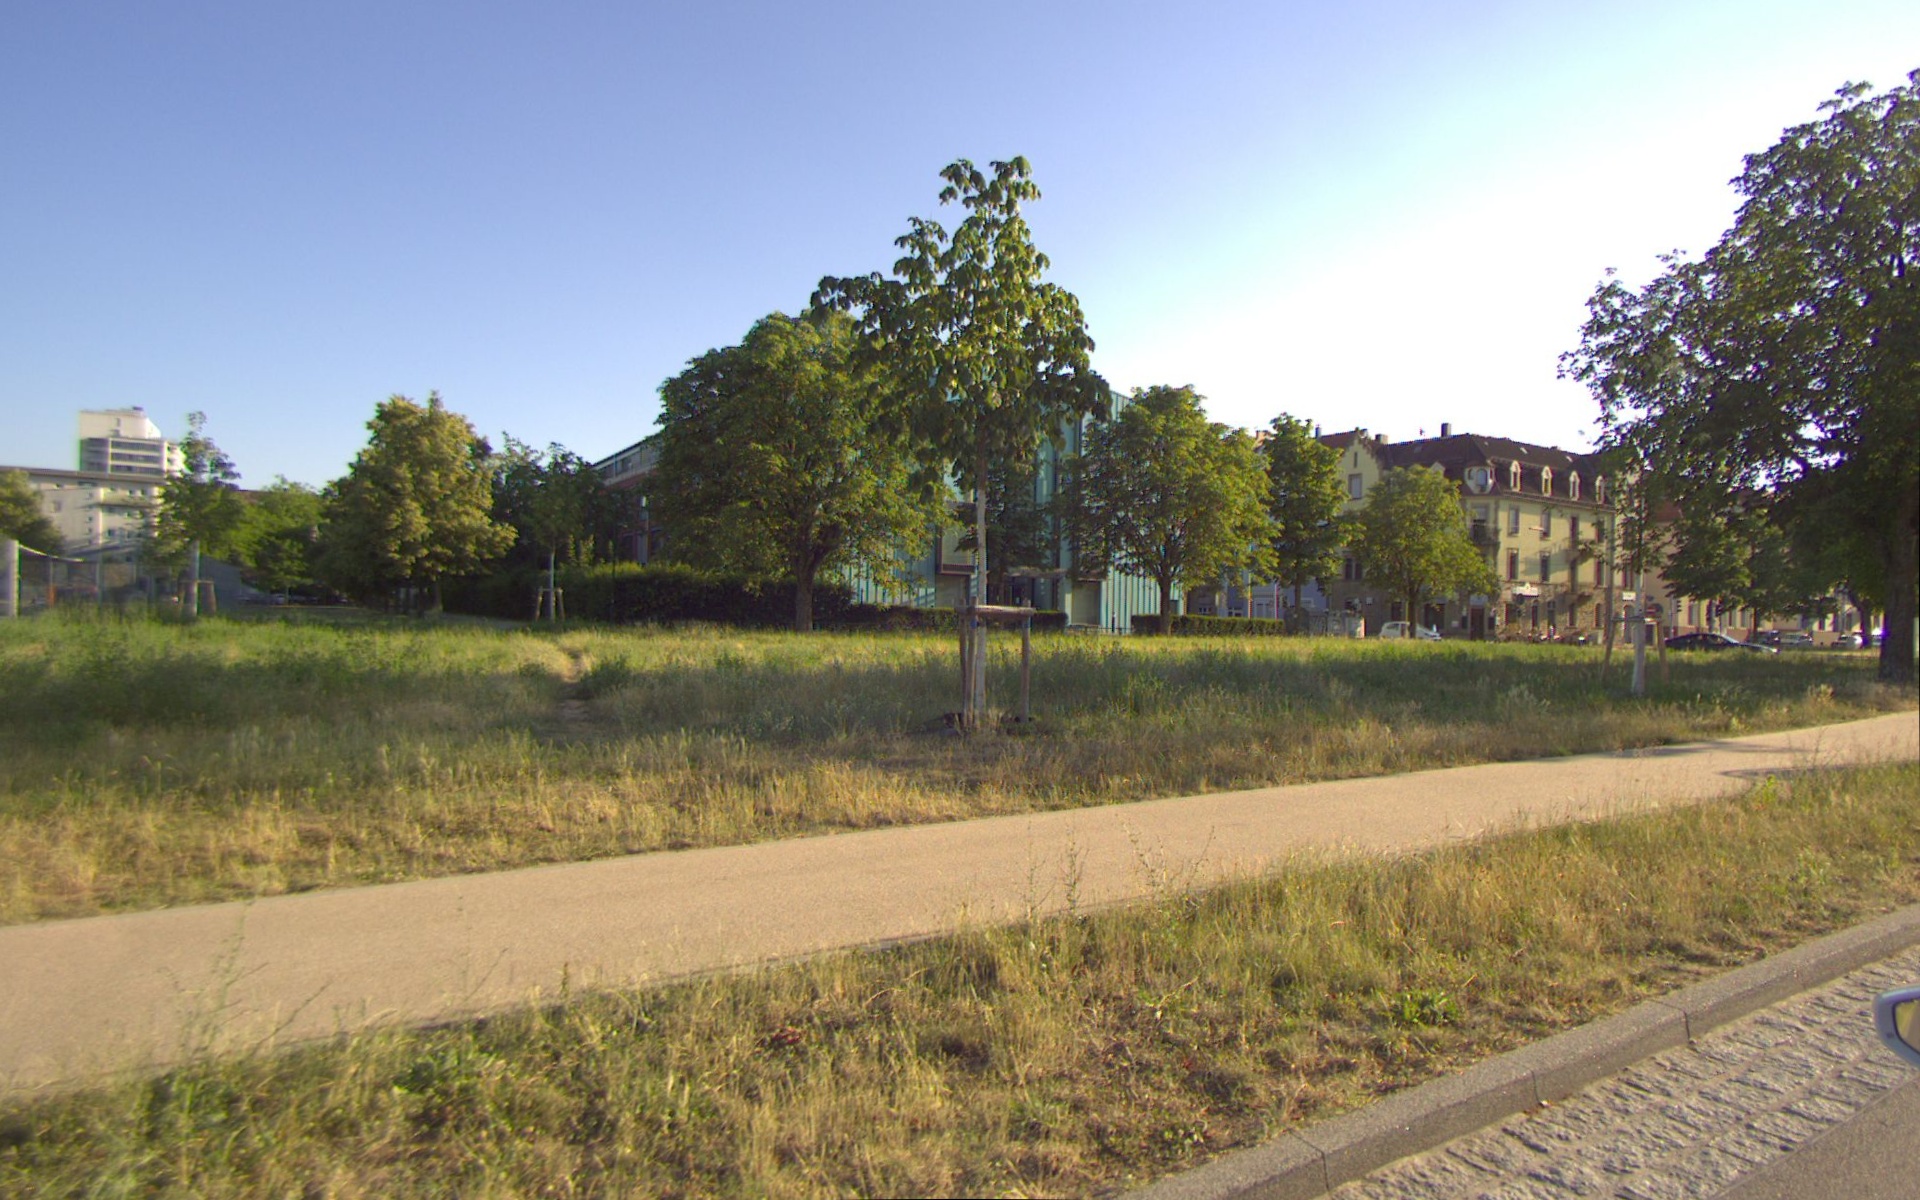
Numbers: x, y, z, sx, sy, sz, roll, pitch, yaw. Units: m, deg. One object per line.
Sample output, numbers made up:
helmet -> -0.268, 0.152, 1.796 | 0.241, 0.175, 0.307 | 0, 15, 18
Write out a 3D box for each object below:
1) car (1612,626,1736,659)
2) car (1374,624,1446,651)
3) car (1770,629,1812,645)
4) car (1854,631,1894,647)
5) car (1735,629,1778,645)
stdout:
car -> 35.664, 2.079, 50.285 | 1.799, 1.453, 4.728 | 2, -1, -38
car -> 27.619, 2.277, 61.696 | 1.728, 1.508, 3.653 | 1, 0, -41
car -> 80.772, 3.627, 97.640 | 3.740, 1.446, 1.733 | 1, 0, -25
car -> 86.316, 3.715, 94.835 | 3.748, 1.446, 1.729 | 2, 0, -30
car -> 75.194, 3.512, 94.828 | 3.740, 1.416, 1.733 | 1, 0, -24
